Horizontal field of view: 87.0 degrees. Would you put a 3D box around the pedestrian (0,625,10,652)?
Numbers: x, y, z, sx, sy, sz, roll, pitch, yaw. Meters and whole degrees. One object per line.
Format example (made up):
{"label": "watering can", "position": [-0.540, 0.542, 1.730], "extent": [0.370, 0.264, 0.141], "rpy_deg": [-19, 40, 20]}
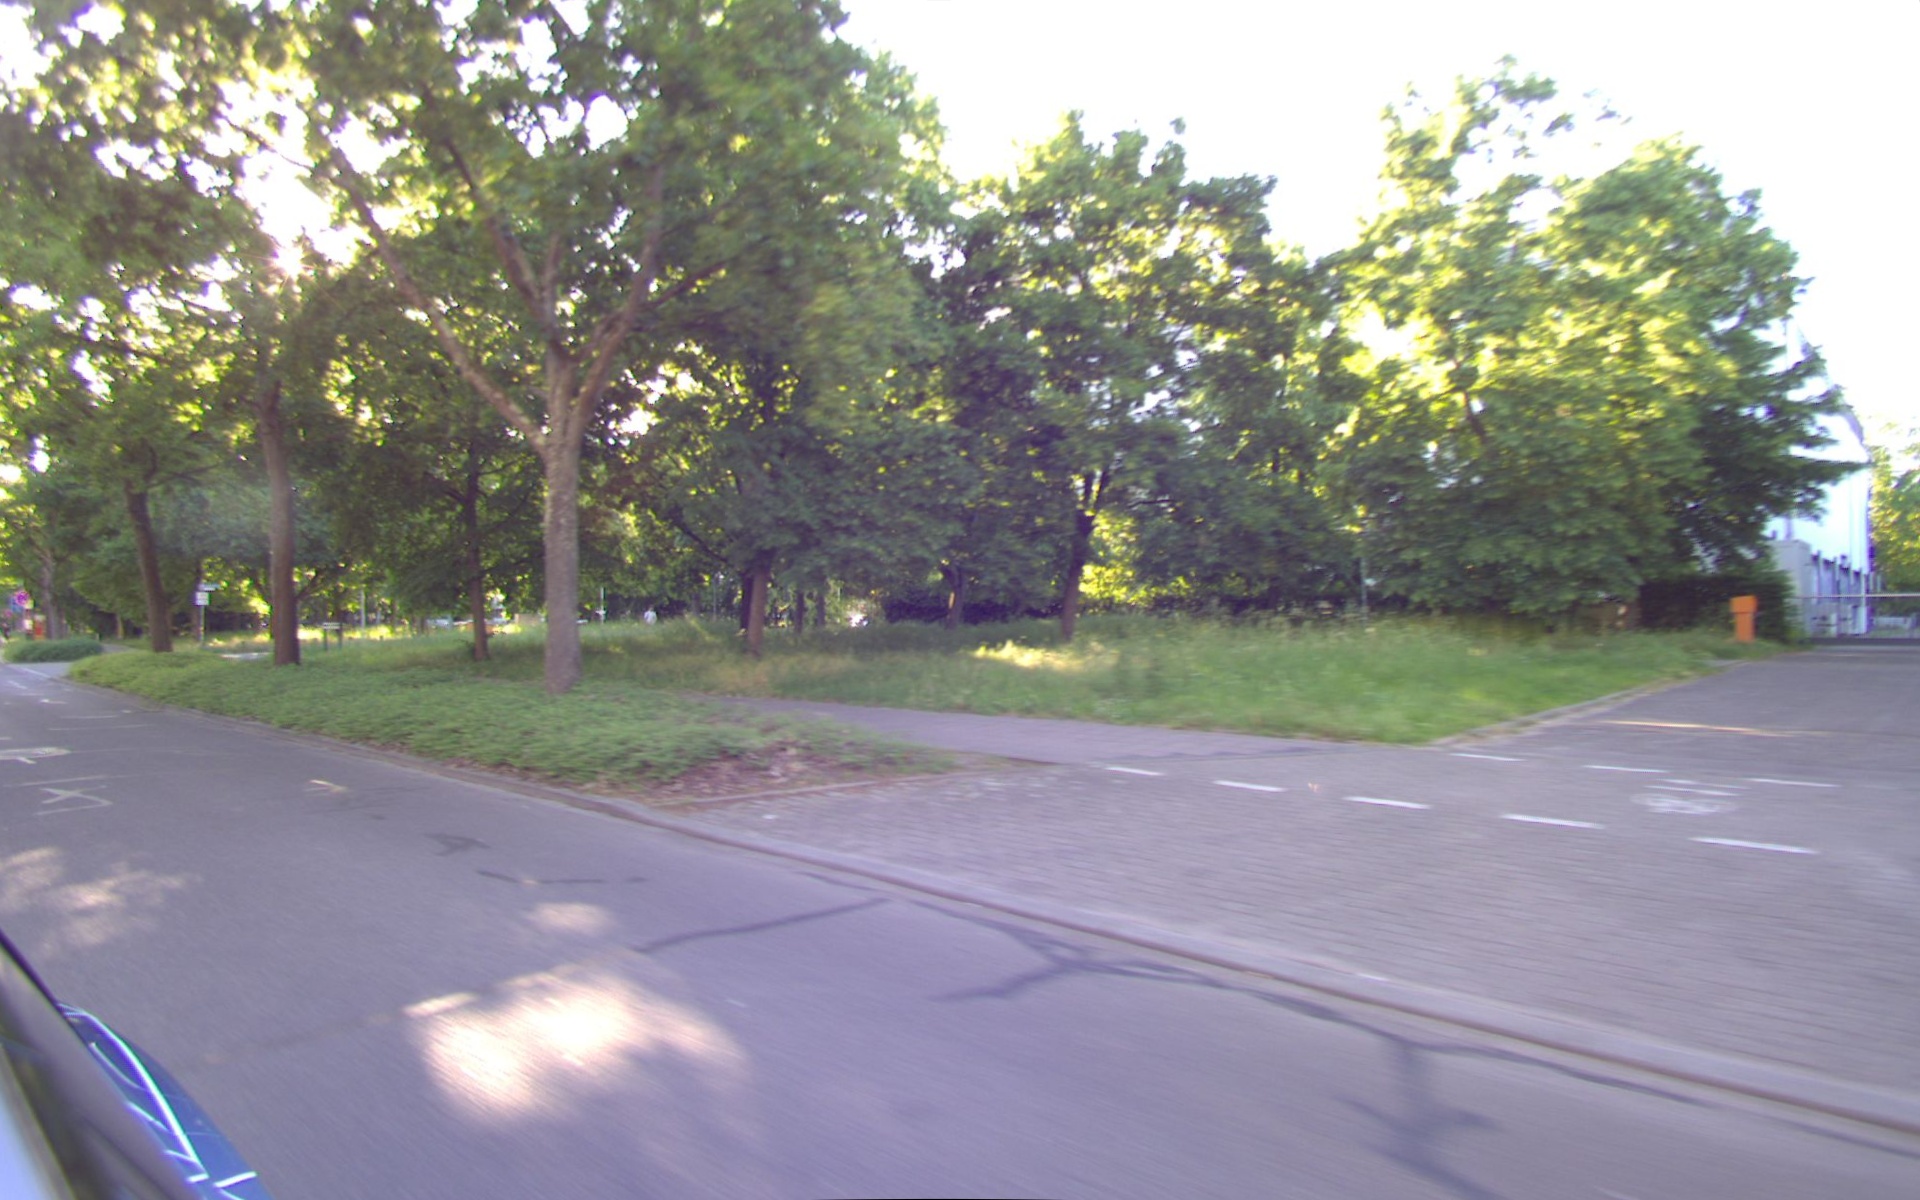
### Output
{"label": "pedestrian", "position": [-64.540, 2.592, 68.037], "extent": [0.720, 1.835, 0.893], "rpy_deg": [-2, -2, 43]}

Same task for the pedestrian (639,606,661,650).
{"label": "pedestrian", "position": [-14.675, 1.326, 47.936], "extent": [0.590, 2.029, 0.749], "rpy_deg": [-2, -1, 40]}
